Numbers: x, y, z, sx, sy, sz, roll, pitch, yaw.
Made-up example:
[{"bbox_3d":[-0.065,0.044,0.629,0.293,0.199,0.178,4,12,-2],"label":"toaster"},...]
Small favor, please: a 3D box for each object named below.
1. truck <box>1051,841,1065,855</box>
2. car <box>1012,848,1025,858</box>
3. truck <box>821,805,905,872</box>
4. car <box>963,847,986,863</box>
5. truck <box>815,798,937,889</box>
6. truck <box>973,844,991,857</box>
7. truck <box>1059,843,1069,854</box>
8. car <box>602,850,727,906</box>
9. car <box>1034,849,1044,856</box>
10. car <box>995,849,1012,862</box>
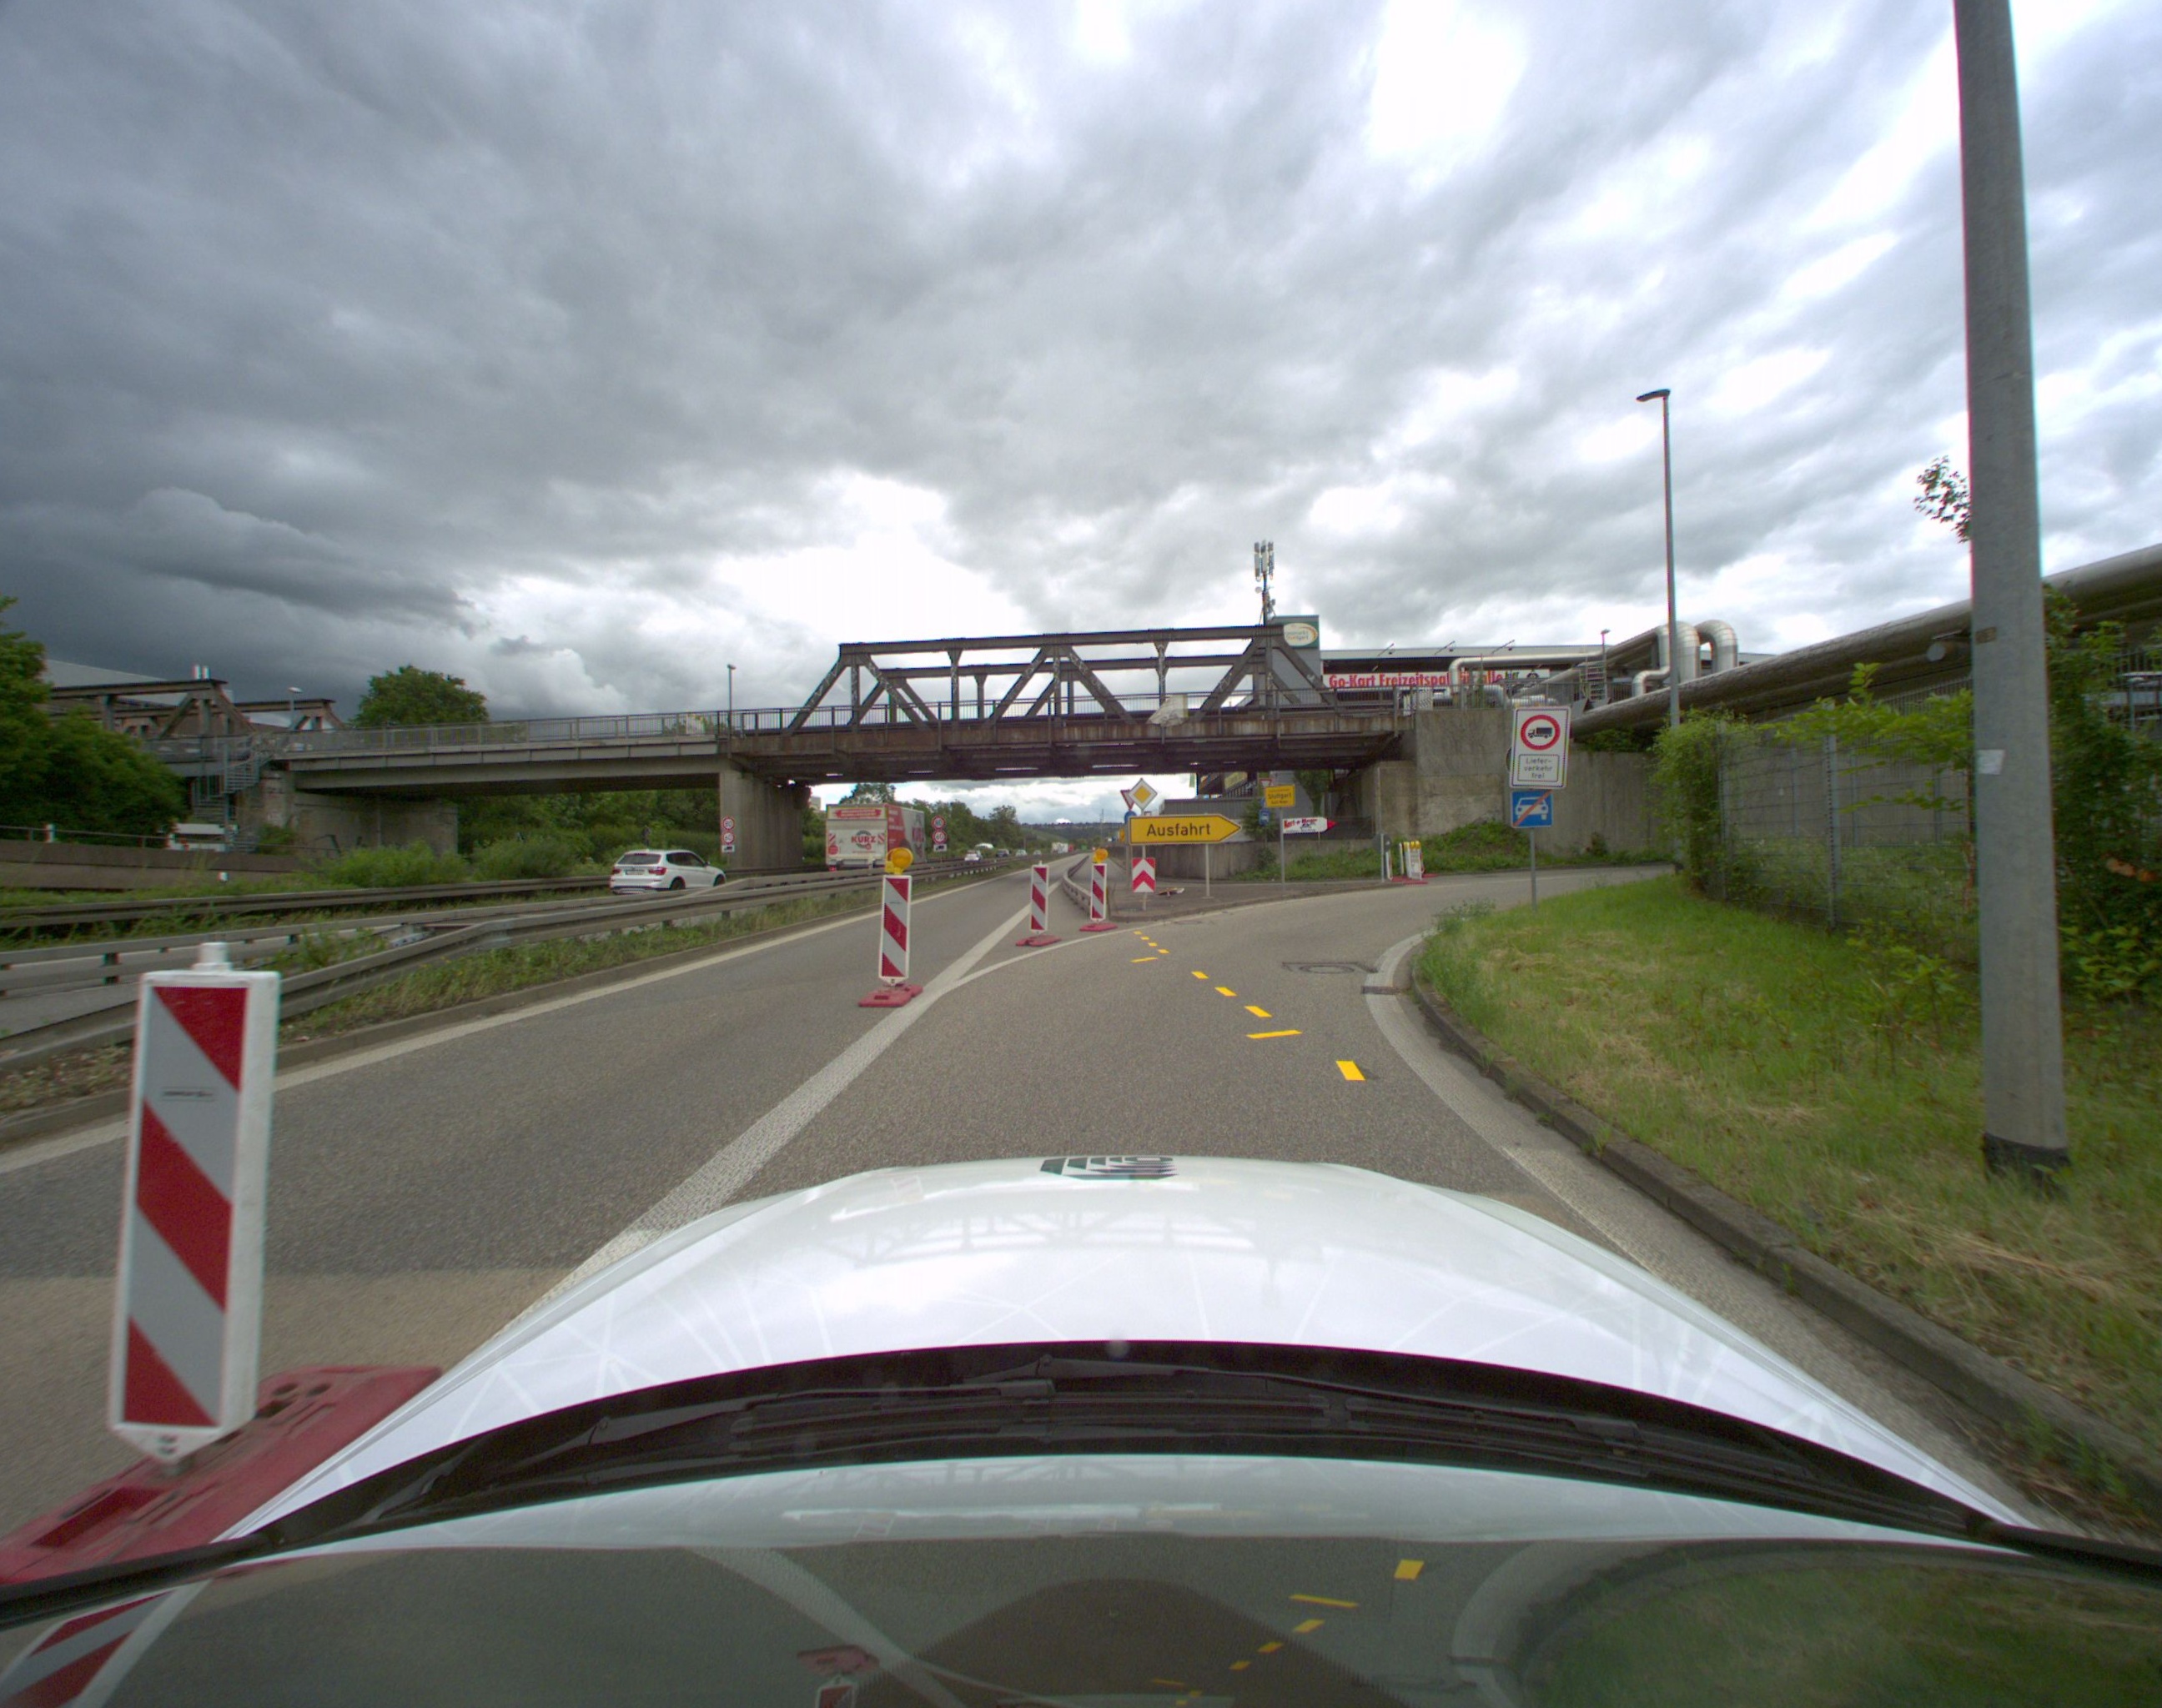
[{"bbox_3d":[-6.564,-1.708,233.033,3.706,3.645,7.731,-1,0,2],"label":"truck"},{"bbox_3d":[-11.012,-0.189,144.762,1.987,1.816,3.999,-1,0,0],"label":"car"},{"bbox_3d":[-12.699,-0.838,48.118,2.987,3.556,7.734,-2,0,-2],"label":"truck"},{"bbox_3d":[-11.890,0.100,91.414,1.987,1.759,4.000,-2,0,0],"label":"car"},{"bbox_3d":[-9.131,-0.425,37.842,2.943,3.629,10.155,-1,0,1],"label":"truck"},{"bbox_3d":[-21.262,-0.751,175.338,2.485,2.846,7.262,0,0,4],"label":"truck"},{"bbox_3d":[-5.151,-1.693,252.013,2.671,3.140,6.134,0,0,2],"label":"truck"},{"bbox_3d":[-13.411,0.729,26.558,1.848,1.640,4.291,-1,0,0],"label":"car"},{"bbox_3d":[-9.407,-0.415,183.382,1.773,1.596,3.751,-1,0,2],"label":"car"},{"bbox_3d":[-11.095,0.267,116.879,1.987,1.759,3.999,-2,0,0],"label":"car"}]
